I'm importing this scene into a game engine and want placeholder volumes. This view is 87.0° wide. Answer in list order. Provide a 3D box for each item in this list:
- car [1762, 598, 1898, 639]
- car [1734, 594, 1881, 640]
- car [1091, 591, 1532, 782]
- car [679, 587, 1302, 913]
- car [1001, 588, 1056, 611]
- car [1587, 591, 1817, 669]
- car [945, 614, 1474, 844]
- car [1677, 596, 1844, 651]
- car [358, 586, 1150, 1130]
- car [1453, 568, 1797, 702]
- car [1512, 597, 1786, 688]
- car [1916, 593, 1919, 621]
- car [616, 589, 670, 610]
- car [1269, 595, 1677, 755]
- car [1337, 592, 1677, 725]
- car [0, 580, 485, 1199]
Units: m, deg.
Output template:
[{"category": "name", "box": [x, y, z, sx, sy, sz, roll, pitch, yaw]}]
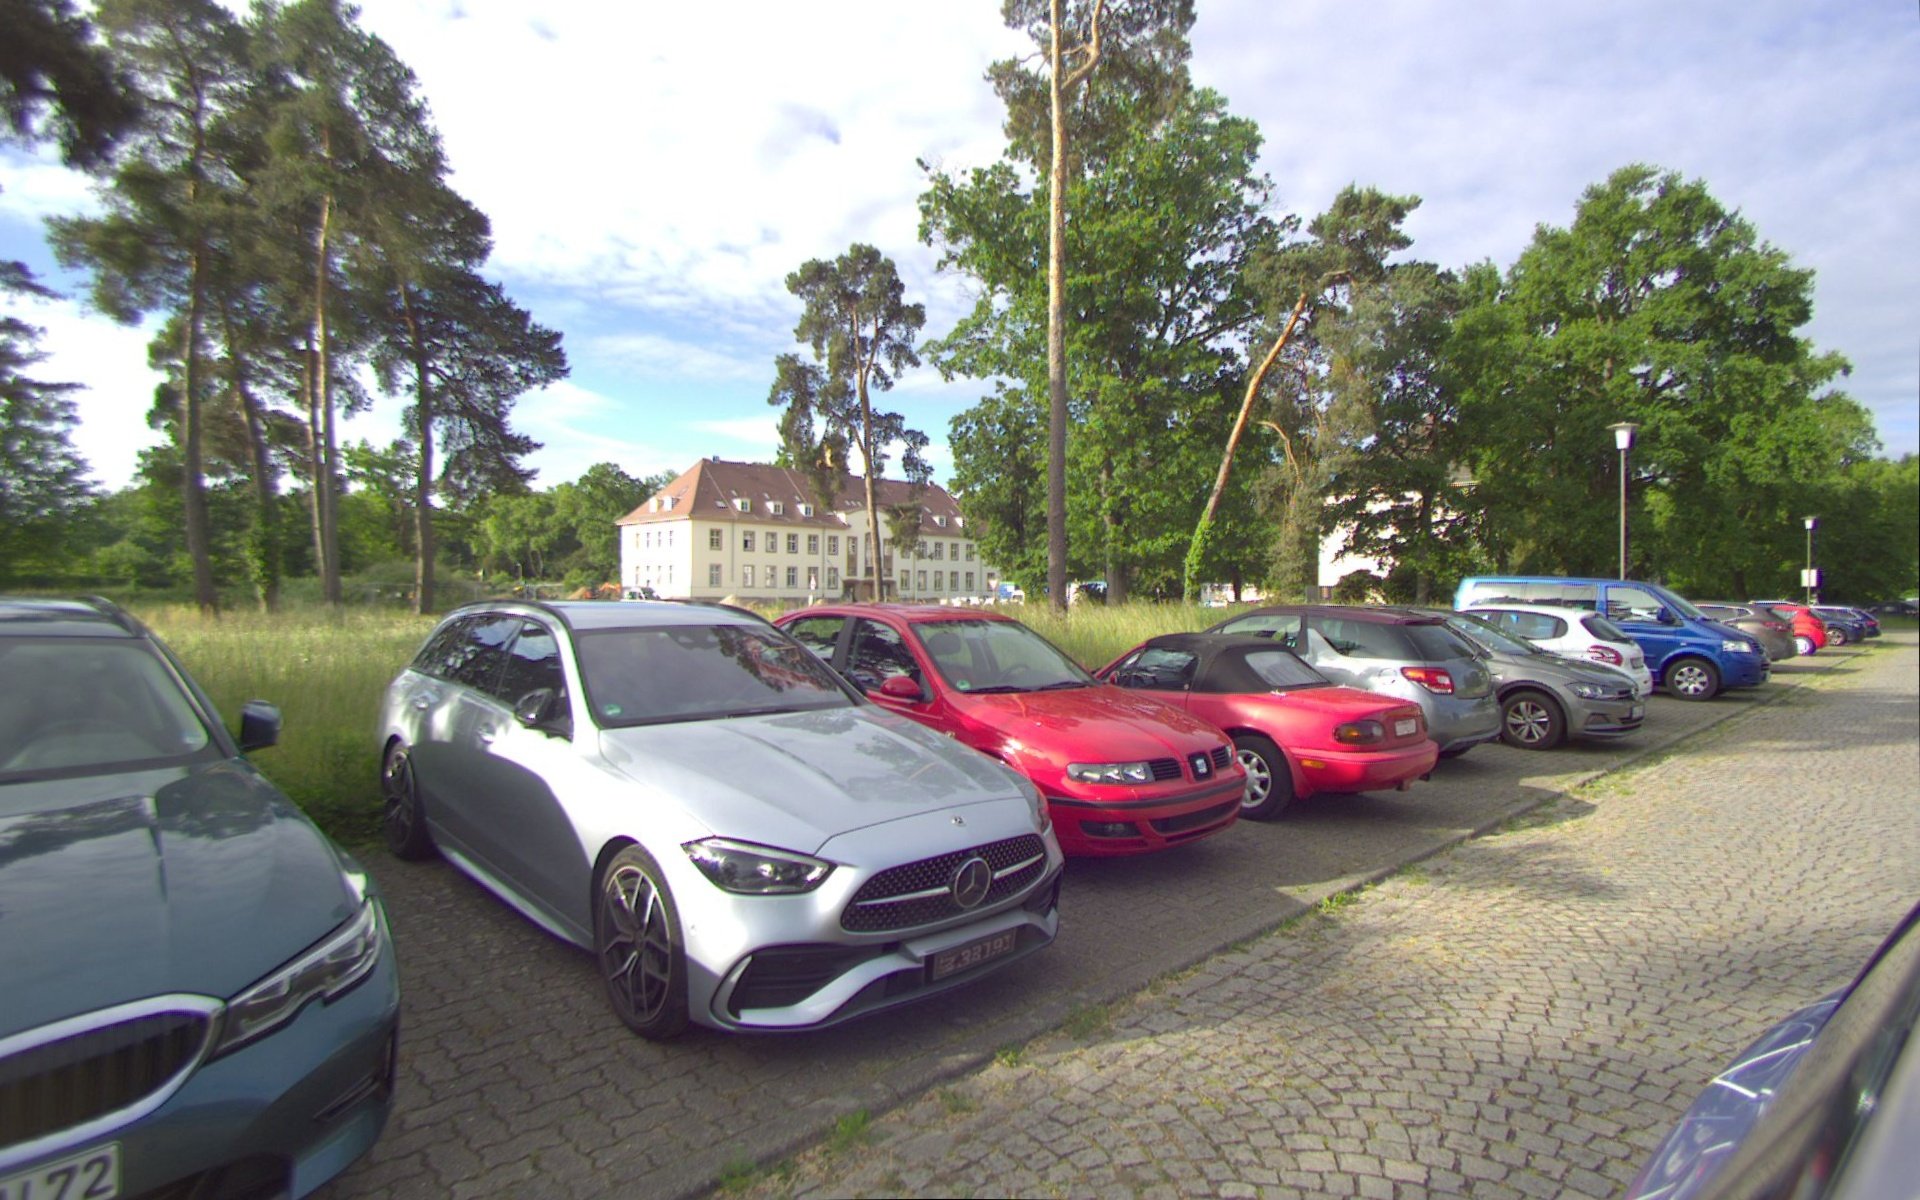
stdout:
[{"category": "car", "box": [35.457, 0.709, 41.319, 1.753, 1.468, 4.032, -1, 2, -42]}, {"category": "car", "box": [31.982, 0.593, 38.270, 1.718, 1.588, 4.128, -1, 2, -44]}, {"category": "car", "box": [3.437, 0.695, 10.419, 1.743, 1.514, 3.955, -1, 2, -44]}, {"category": "car", "box": [-0.087, 0.684, 6.966, 1.711, 1.492, 4.344, -1, 2, -44]}, {"category": "car", "box": [7.022, -0.063, 102.878, 5.859, 2.328, 2.165, 0, 0, -42]}, {"category": "car", "box": [17.576, 0.626, 24.095, 1.848, 1.608, 4.193, -1, 2, -45]}, {"category": "car", "box": [1.836, 0.829, 8.337, 1.698, 1.276, 3.955, -1, 2, -44]}, {"category": "car", "box": [24.672, 0.664, 31.278, 1.660, 1.491, 3.879, -1, 2, -45]}, {"category": "car", "box": [-1.432, 0.705, 5.141, 1.819, 1.492, 4.510, -1, 2, -44]}, {"category": "car", "box": [11.527, 0.468, 17.803, 1.960, 1.952, 4.736, -1, 3, -45]}, {"category": "car", "box": [13.234, 0.730, 19.590, 4.189, 1.488, 1.780, 2, 2, 42]}, {"category": "car", "box": [72.133, 0.513, 72.628, 1.967, 2.067, 5.069, 1, 0, -44]}, {"category": "car", "box": [-31.951, -0.037, 102.003, 5.637, 2.039, 2.596, 0, 1, 40]}, {"category": "car", "box": [5.912, 0.730, 11.990, 1.800, 1.486, 3.955, -1, 2, -44]}, {"category": "car", "box": [7.592, 0.692, 14.300, 1.778, 1.549, 3.878, -1, 2, -44]}, {"category": "car", "box": [-3.439, 0.698, 3.286, 4.504, 1.492, 1.867, 2, 2, 42]}]
